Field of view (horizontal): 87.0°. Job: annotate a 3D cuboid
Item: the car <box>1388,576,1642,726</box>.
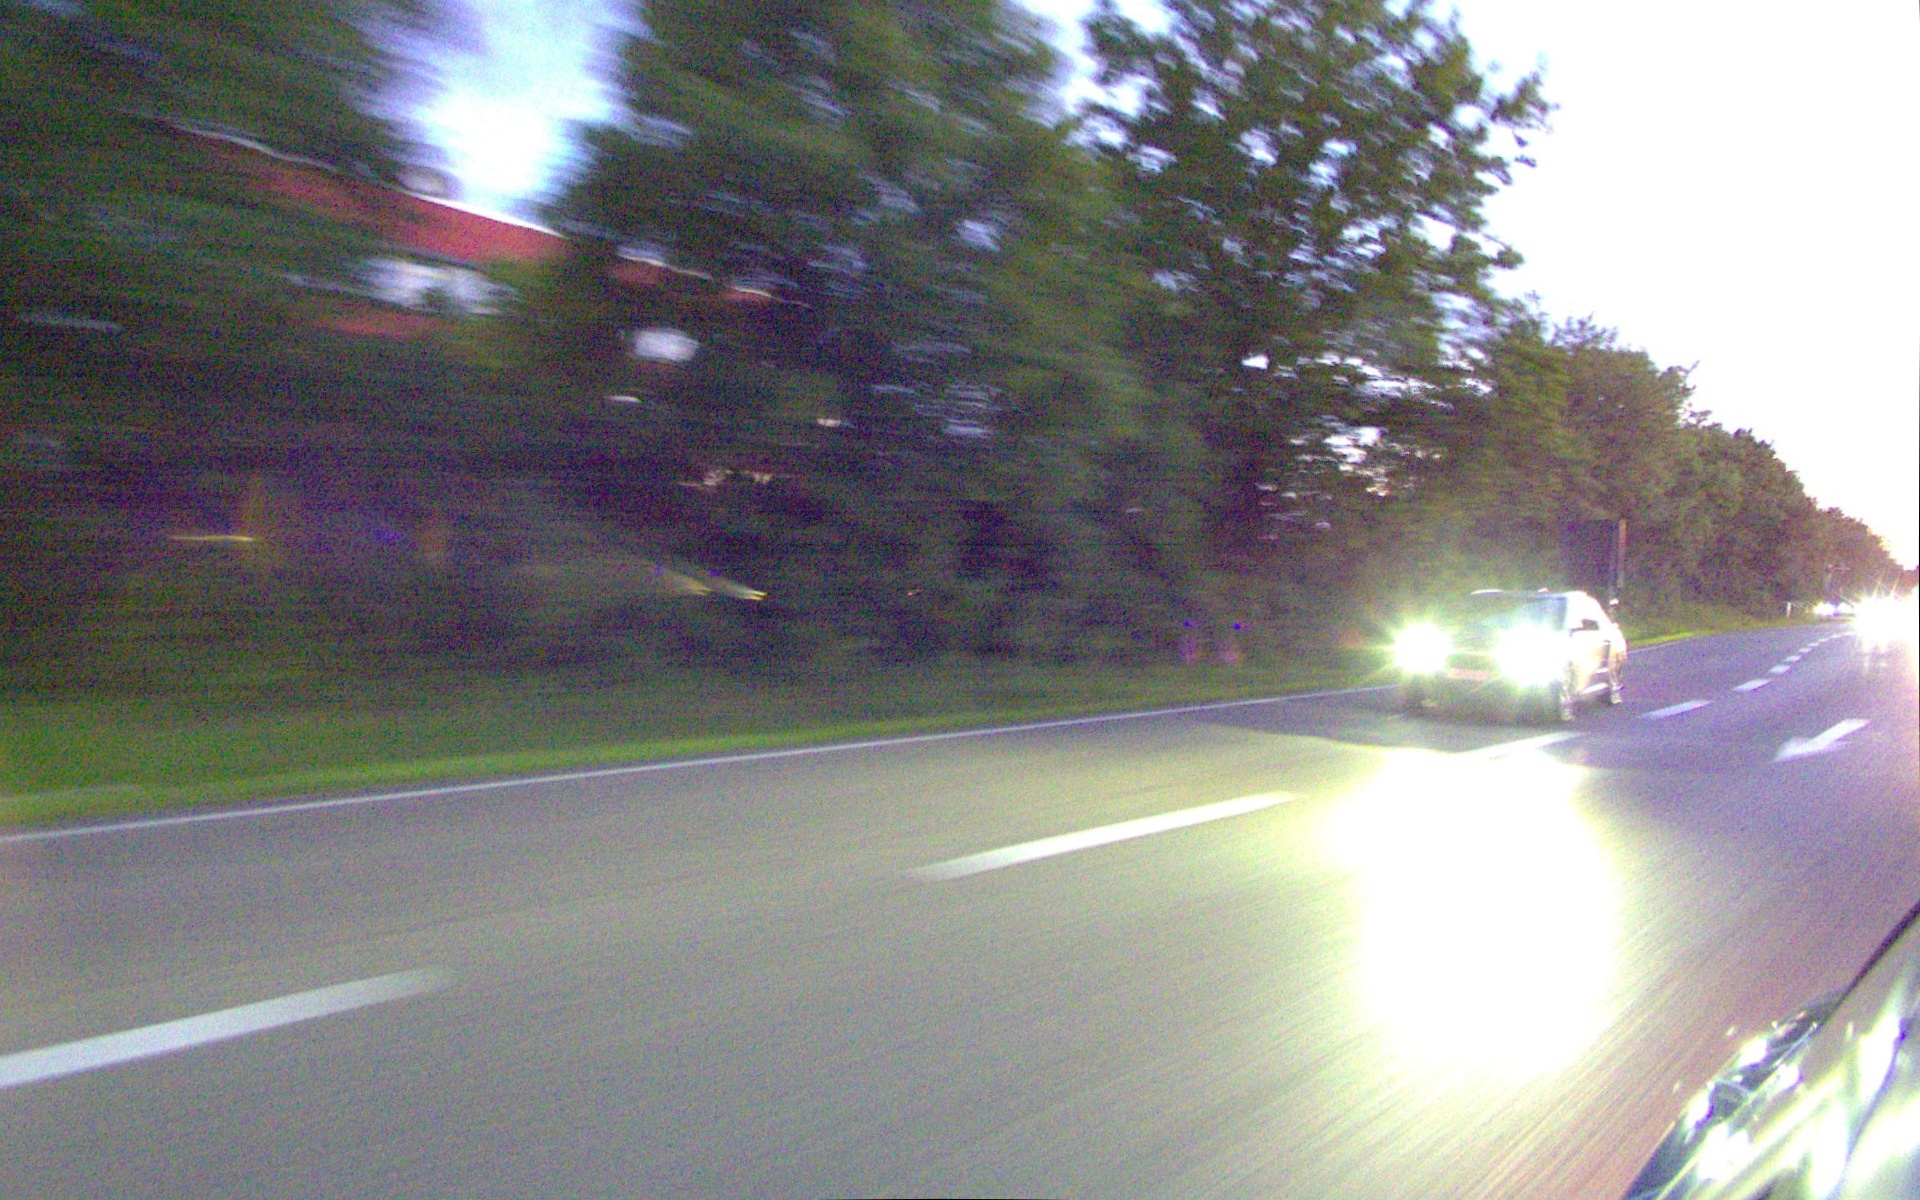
[{"bbox_3d":[7.541,0.549,13.527,1.901,1.640,4.485,2,1,43],"label":"car"}]
